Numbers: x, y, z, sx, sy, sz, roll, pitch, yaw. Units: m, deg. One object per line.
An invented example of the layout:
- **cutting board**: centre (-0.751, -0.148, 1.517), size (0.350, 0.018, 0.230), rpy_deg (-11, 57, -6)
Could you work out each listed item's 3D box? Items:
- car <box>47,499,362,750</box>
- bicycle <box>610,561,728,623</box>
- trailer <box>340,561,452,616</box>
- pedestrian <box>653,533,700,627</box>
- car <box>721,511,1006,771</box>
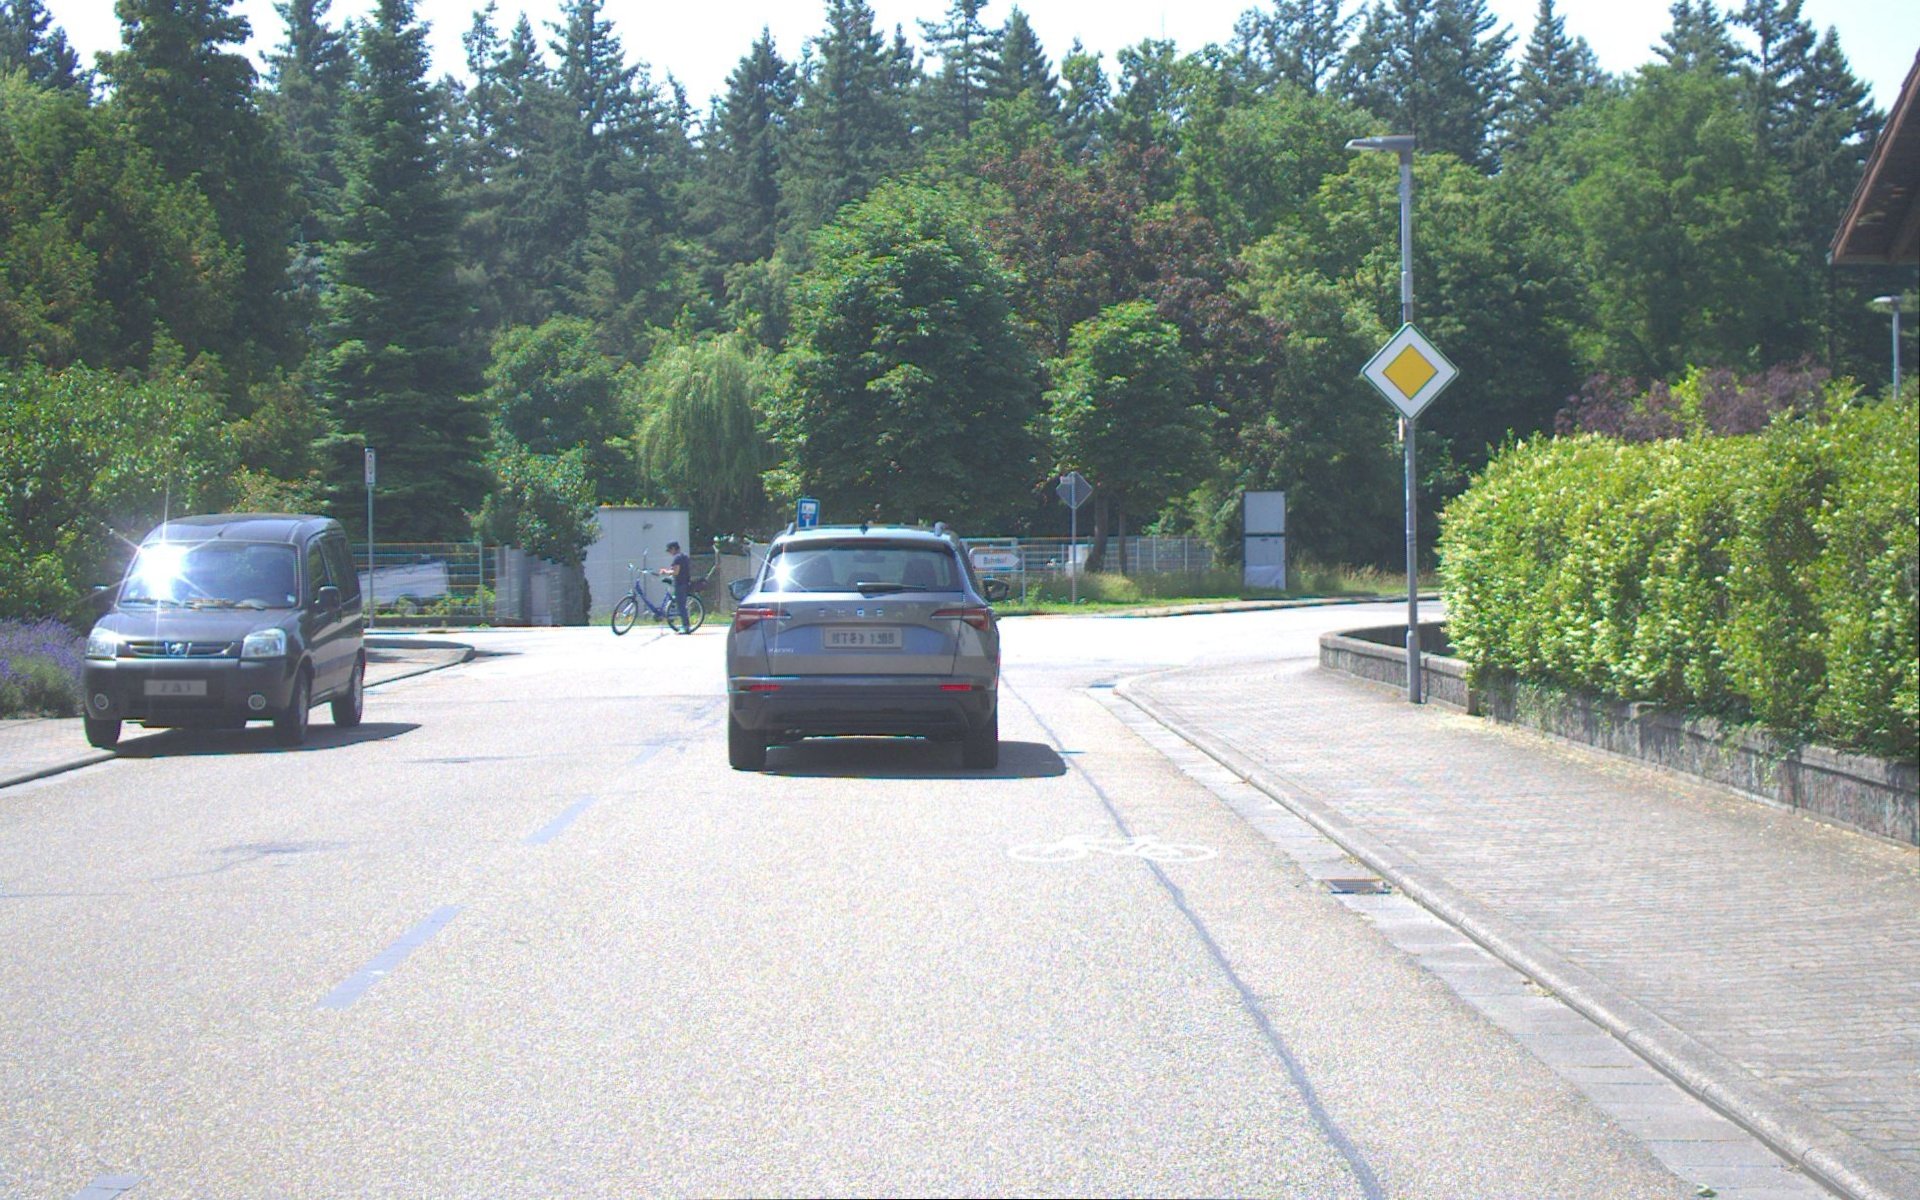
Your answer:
- **car**: centre (-5.927, 0.150, 27.406), size (1.718, 1.839, 4.055), rpy_deg (0, 1, -2)
- **bicycle**: centre (-4.696, -0.135, 55.490), size (1.842, 0.960, 0.443), rpy_deg (-1, 1, -22)
- **trailer**: centre (-11.496, -0.245, 70.131), size (2.214, 1.080, 1.106), rpy_deg (-1, 1, -8)
- **pedestrian**: centre (-4.542, -0.328, 55.011), size (0.610, 1.495, 0.504), rpy_deg (-1, 1, -22)
- **car**: centre (-0.670, 0.230, 23.638), size (1.762, 1.612, 4.000), rpy_deg (1, 1, -2)
